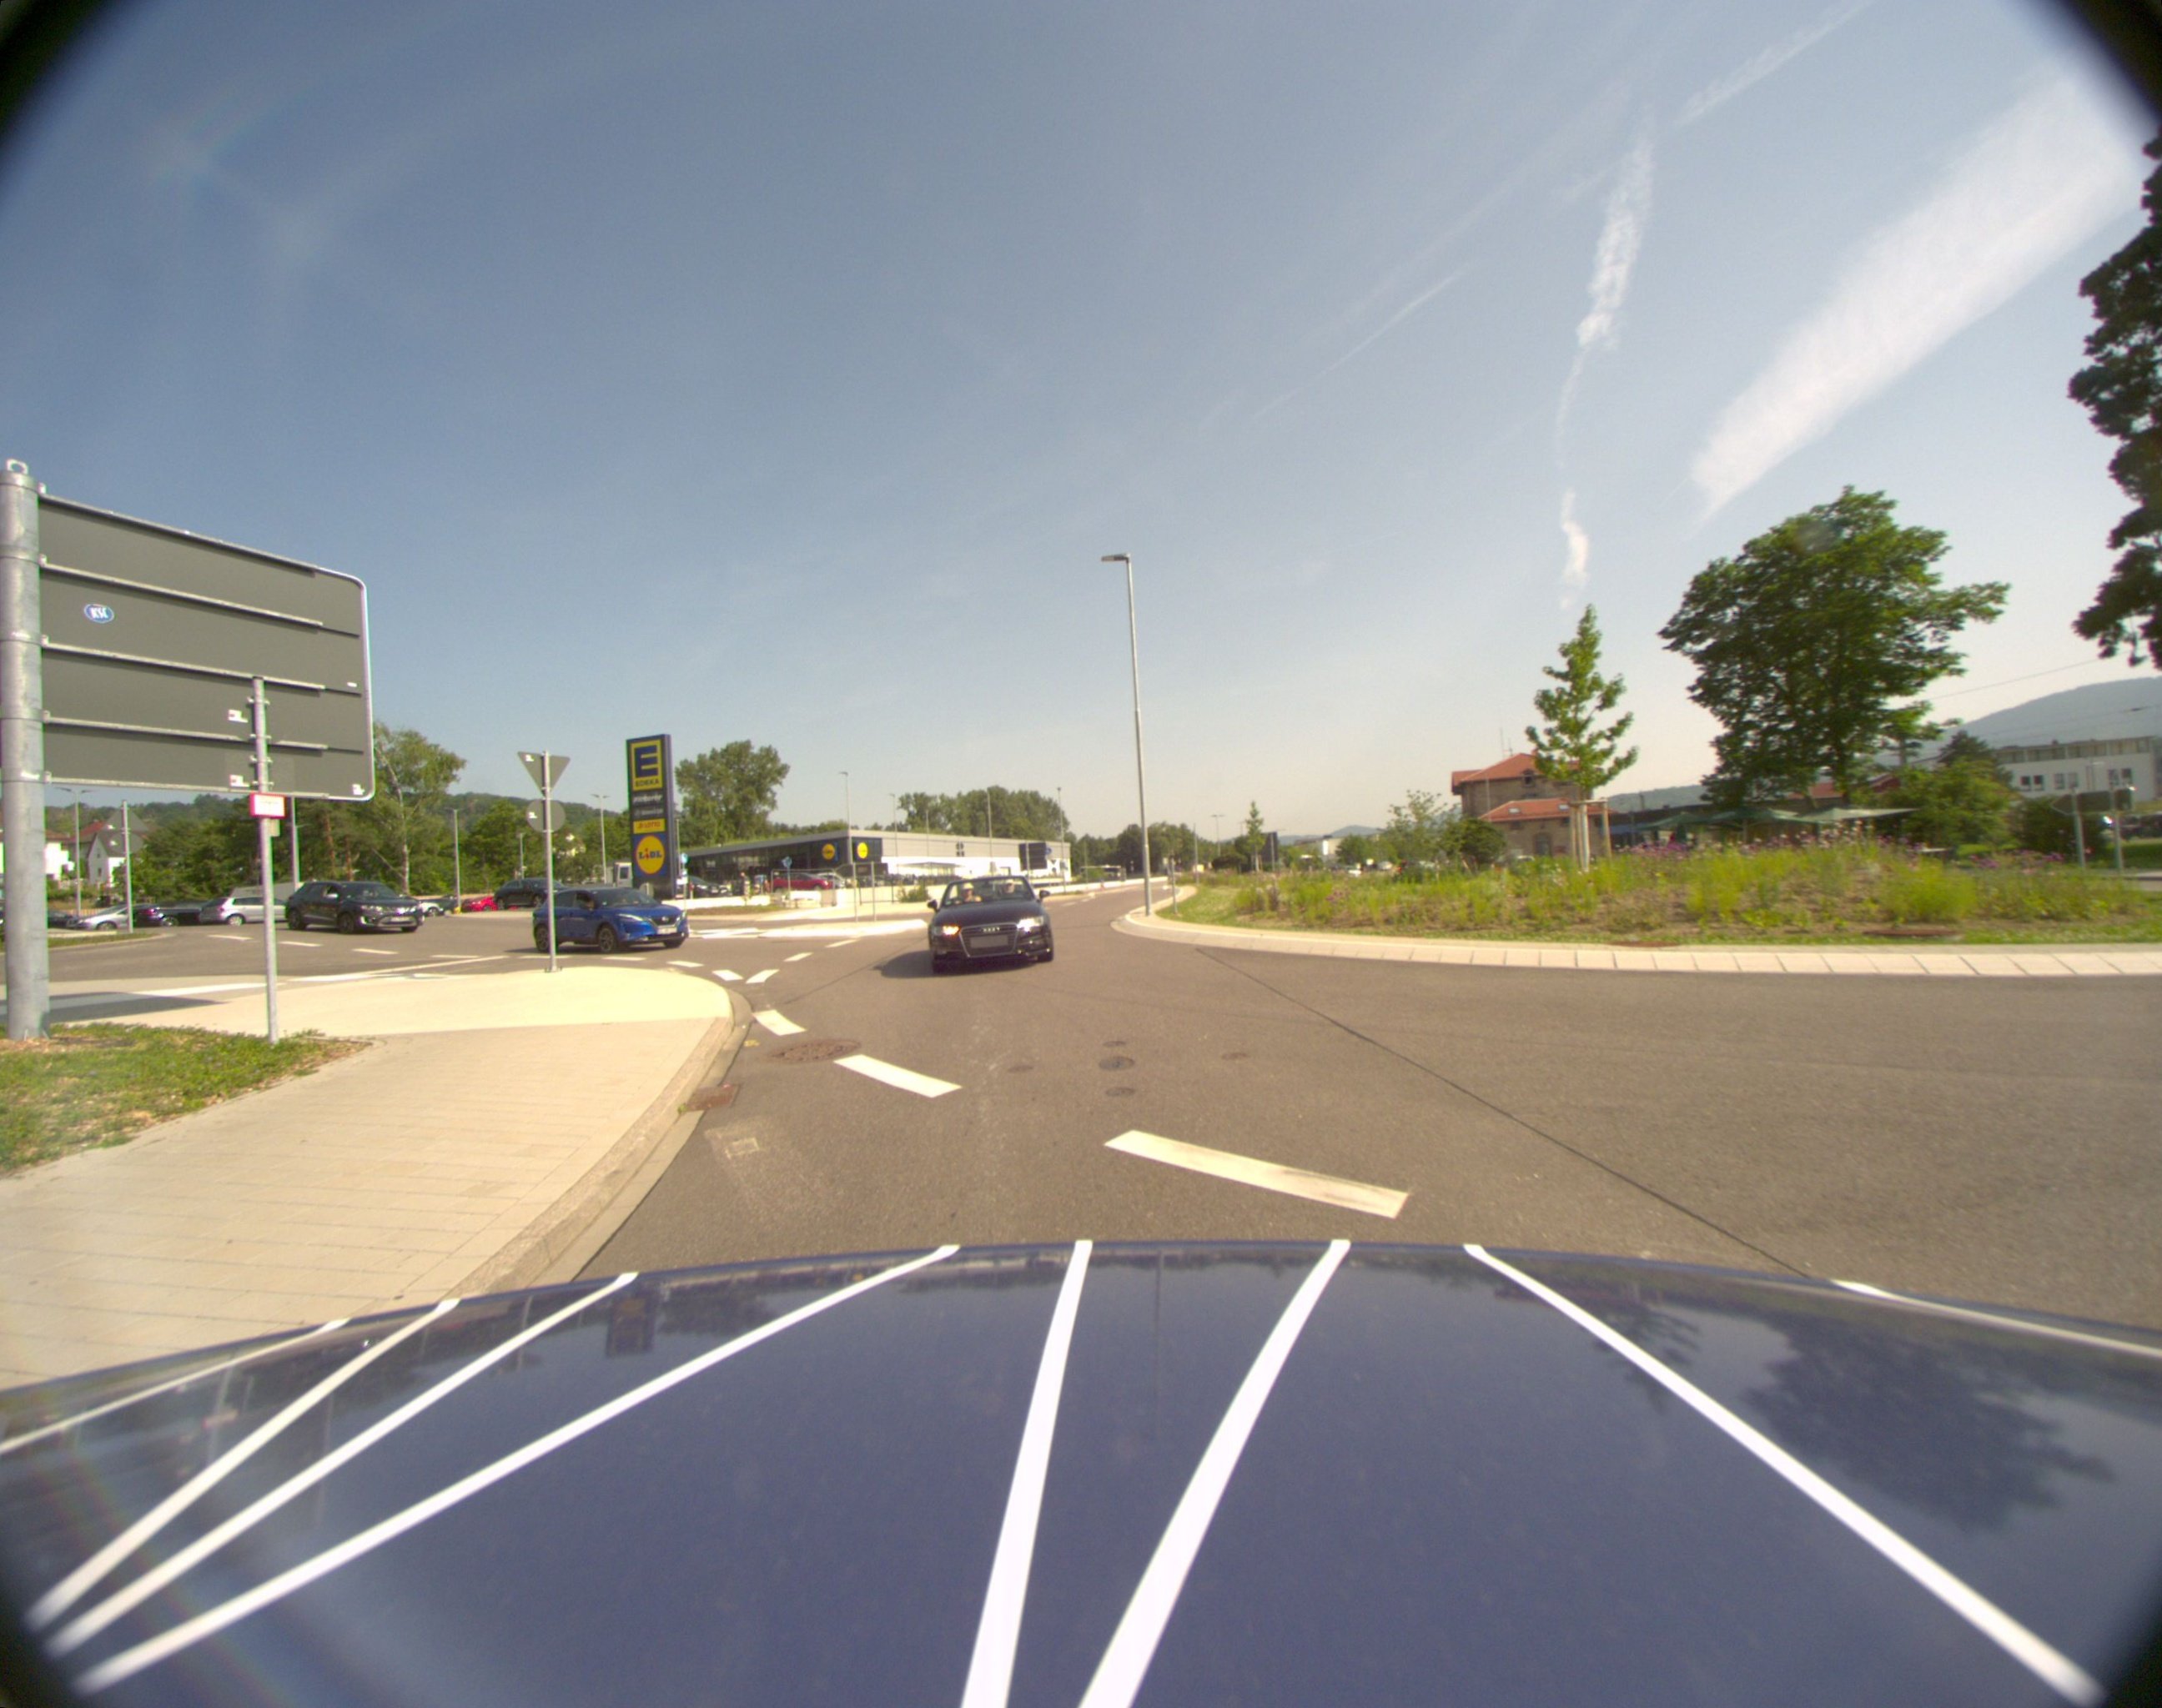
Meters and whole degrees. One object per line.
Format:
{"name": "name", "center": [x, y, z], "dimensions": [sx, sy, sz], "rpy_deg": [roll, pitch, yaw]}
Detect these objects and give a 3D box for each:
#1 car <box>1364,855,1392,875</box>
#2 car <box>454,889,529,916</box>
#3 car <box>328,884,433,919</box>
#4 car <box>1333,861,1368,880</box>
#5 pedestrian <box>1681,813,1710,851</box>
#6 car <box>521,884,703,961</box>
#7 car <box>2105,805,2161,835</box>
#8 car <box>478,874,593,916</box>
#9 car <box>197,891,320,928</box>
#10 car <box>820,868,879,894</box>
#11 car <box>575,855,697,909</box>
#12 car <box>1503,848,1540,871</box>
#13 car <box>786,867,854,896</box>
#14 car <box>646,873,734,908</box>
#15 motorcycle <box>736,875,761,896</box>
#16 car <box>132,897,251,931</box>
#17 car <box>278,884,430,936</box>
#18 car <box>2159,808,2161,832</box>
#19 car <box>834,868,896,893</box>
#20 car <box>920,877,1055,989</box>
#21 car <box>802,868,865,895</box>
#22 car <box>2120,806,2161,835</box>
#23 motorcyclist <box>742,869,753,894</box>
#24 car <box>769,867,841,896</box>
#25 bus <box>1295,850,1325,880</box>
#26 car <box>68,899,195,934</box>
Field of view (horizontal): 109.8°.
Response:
{"name": "car", "center": [33.249, 1.180, 84.957], "dimensions": [1.974, 1.952, 5.167], "rpy_deg": [-7, -2, 31]}
{"name": "car", "center": [-41.695, 3.406, 53.833], "dimensions": [1.760, 1.564, 3.792], "rpy_deg": [-6, -2, 15]}
{"name": "car", "center": [-38.106, 2.566, 41.459], "dimensions": [1.760, 1.564, 3.792], "rpy_deg": [-6, -2, 15]}
{"name": "car", "center": [23.787, 1.461, 67.196], "dimensions": [1.674, 1.522, 4.000], "rpy_deg": [-2, -1, -1]}
{"name": "pedestrian", "center": [34.729, -1.250, 42.960], "dimensions": [0.859, 2.001, 0.708], "rpy_deg": [-5, -2, -12]}
{"name": "car", "center": [-11.828, 1.655, 19.141], "dimensions": [4.342, 1.653, 1.890], "rpy_deg": [-2, 1, 28]}
{"name": "car", "center": [78.424, -2.562, 55.458], "dimensions": [3.991, 1.838, 1.788], "rpy_deg": [-7, -3, 44]}
{"name": "car", "center": [-25.968, 1.958, 36.167], "dimensions": [4.851, 1.521, 1.925], "rpy_deg": [-6, -2, 20]}
{"name": "car", "center": [-39.496, 2.628, 36.591], "dimensions": [1.523, 1.436, 3.636], "rpy_deg": [-6, -2, 16]}
{"name": "car", "center": [-17.980, 2.104, 59.126], "dimensions": [3.998, 1.564, 1.704], "rpy_deg": [-5, -2, -3]}
{"name": "car", "center": [-24.392, 1.524, 41.634], "dimensions": [6.081, 2.369, 2.063], "rpy_deg": [-6, -2, 17]}
{"name": "car", "center": [35.068, 0.402, 60.589], "dimensions": [1.677, 1.559, 3.655], "rpy_deg": [-6, -1, 17]}
{"name": "car", "center": [-18.228, 1.915, 53.180], "dimensions": [4.019, 1.564, 1.780], "rpy_deg": [-6, -2, 0]}
{"name": "car", "center": [-22.741, 2.112, 44.205], "dimensions": [4.469, 1.592, 1.835], "rpy_deg": [-6, -2, 18]}
{"name": "motorcycle", "center": [-20.852, 1.958, 47.640], "dimensions": [1.899, 1.183, 0.592], "rpy_deg": [-6, -3, 41]}
{"name": "car", "center": [-42.624, 2.830, 36.511], "dimensions": [1.524, 1.365, 3.368], "rpy_deg": [-4, -2, 7]}
{"name": "car", "center": [-22.966, 1.760, 24.013], "dimensions": [4.220, 1.383, 1.647], "rpy_deg": [2, -4, 20]}
{"name": "car", "center": [74.307, -2.370, 49.696], "dimensions": [3.991, 1.838, 1.788], "rpy_deg": [-7, -3, 44]}
{"name": "car", "center": [-17.519, 2.153, 61.716], "dimensions": [4.413, 1.564, 1.704], "rpy_deg": [-5, -2, -3]}
{"name": "car", "center": [-1.477, 1.138, 12.447], "dimensions": [1.722, 1.314, 4.222], "rpy_deg": [-5, 0, -6]}
{"name": "car", "center": [-18.276, 2.031, 56.288], "dimensions": [3.998, 1.564, 1.704], "rpy_deg": [-5, -2, -3]}
{"name": "car", "center": [76.947, -2.488, 53.535], "dimensions": [3.991, 1.838, 1.788], "rpy_deg": [-7, -3, 44]}
{"name": "motorcyclist", "center": [-21.116, 1.765, 48.165], "dimensions": [0.515, 1.533, 0.581], "rpy_deg": [-5, -2, -23]}
{"name": "car", "center": [-18.466, 1.858, 50.958], "dimensions": [4.019, 1.564, 1.780], "rpy_deg": [-6, -2, 0]}
{"name": "bus", "center": [28.608, 1.354, 95.221], "dimensions": [2.584, 3.308, 10.601], "rpy_deg": [-6, -2, 13]}
{"name": "car", "center": [-47.825, 3.120, 38.353], "dimensions": [1.523, 1.436, 3.636], "rpy_deg": [-6, -2, 16]}
